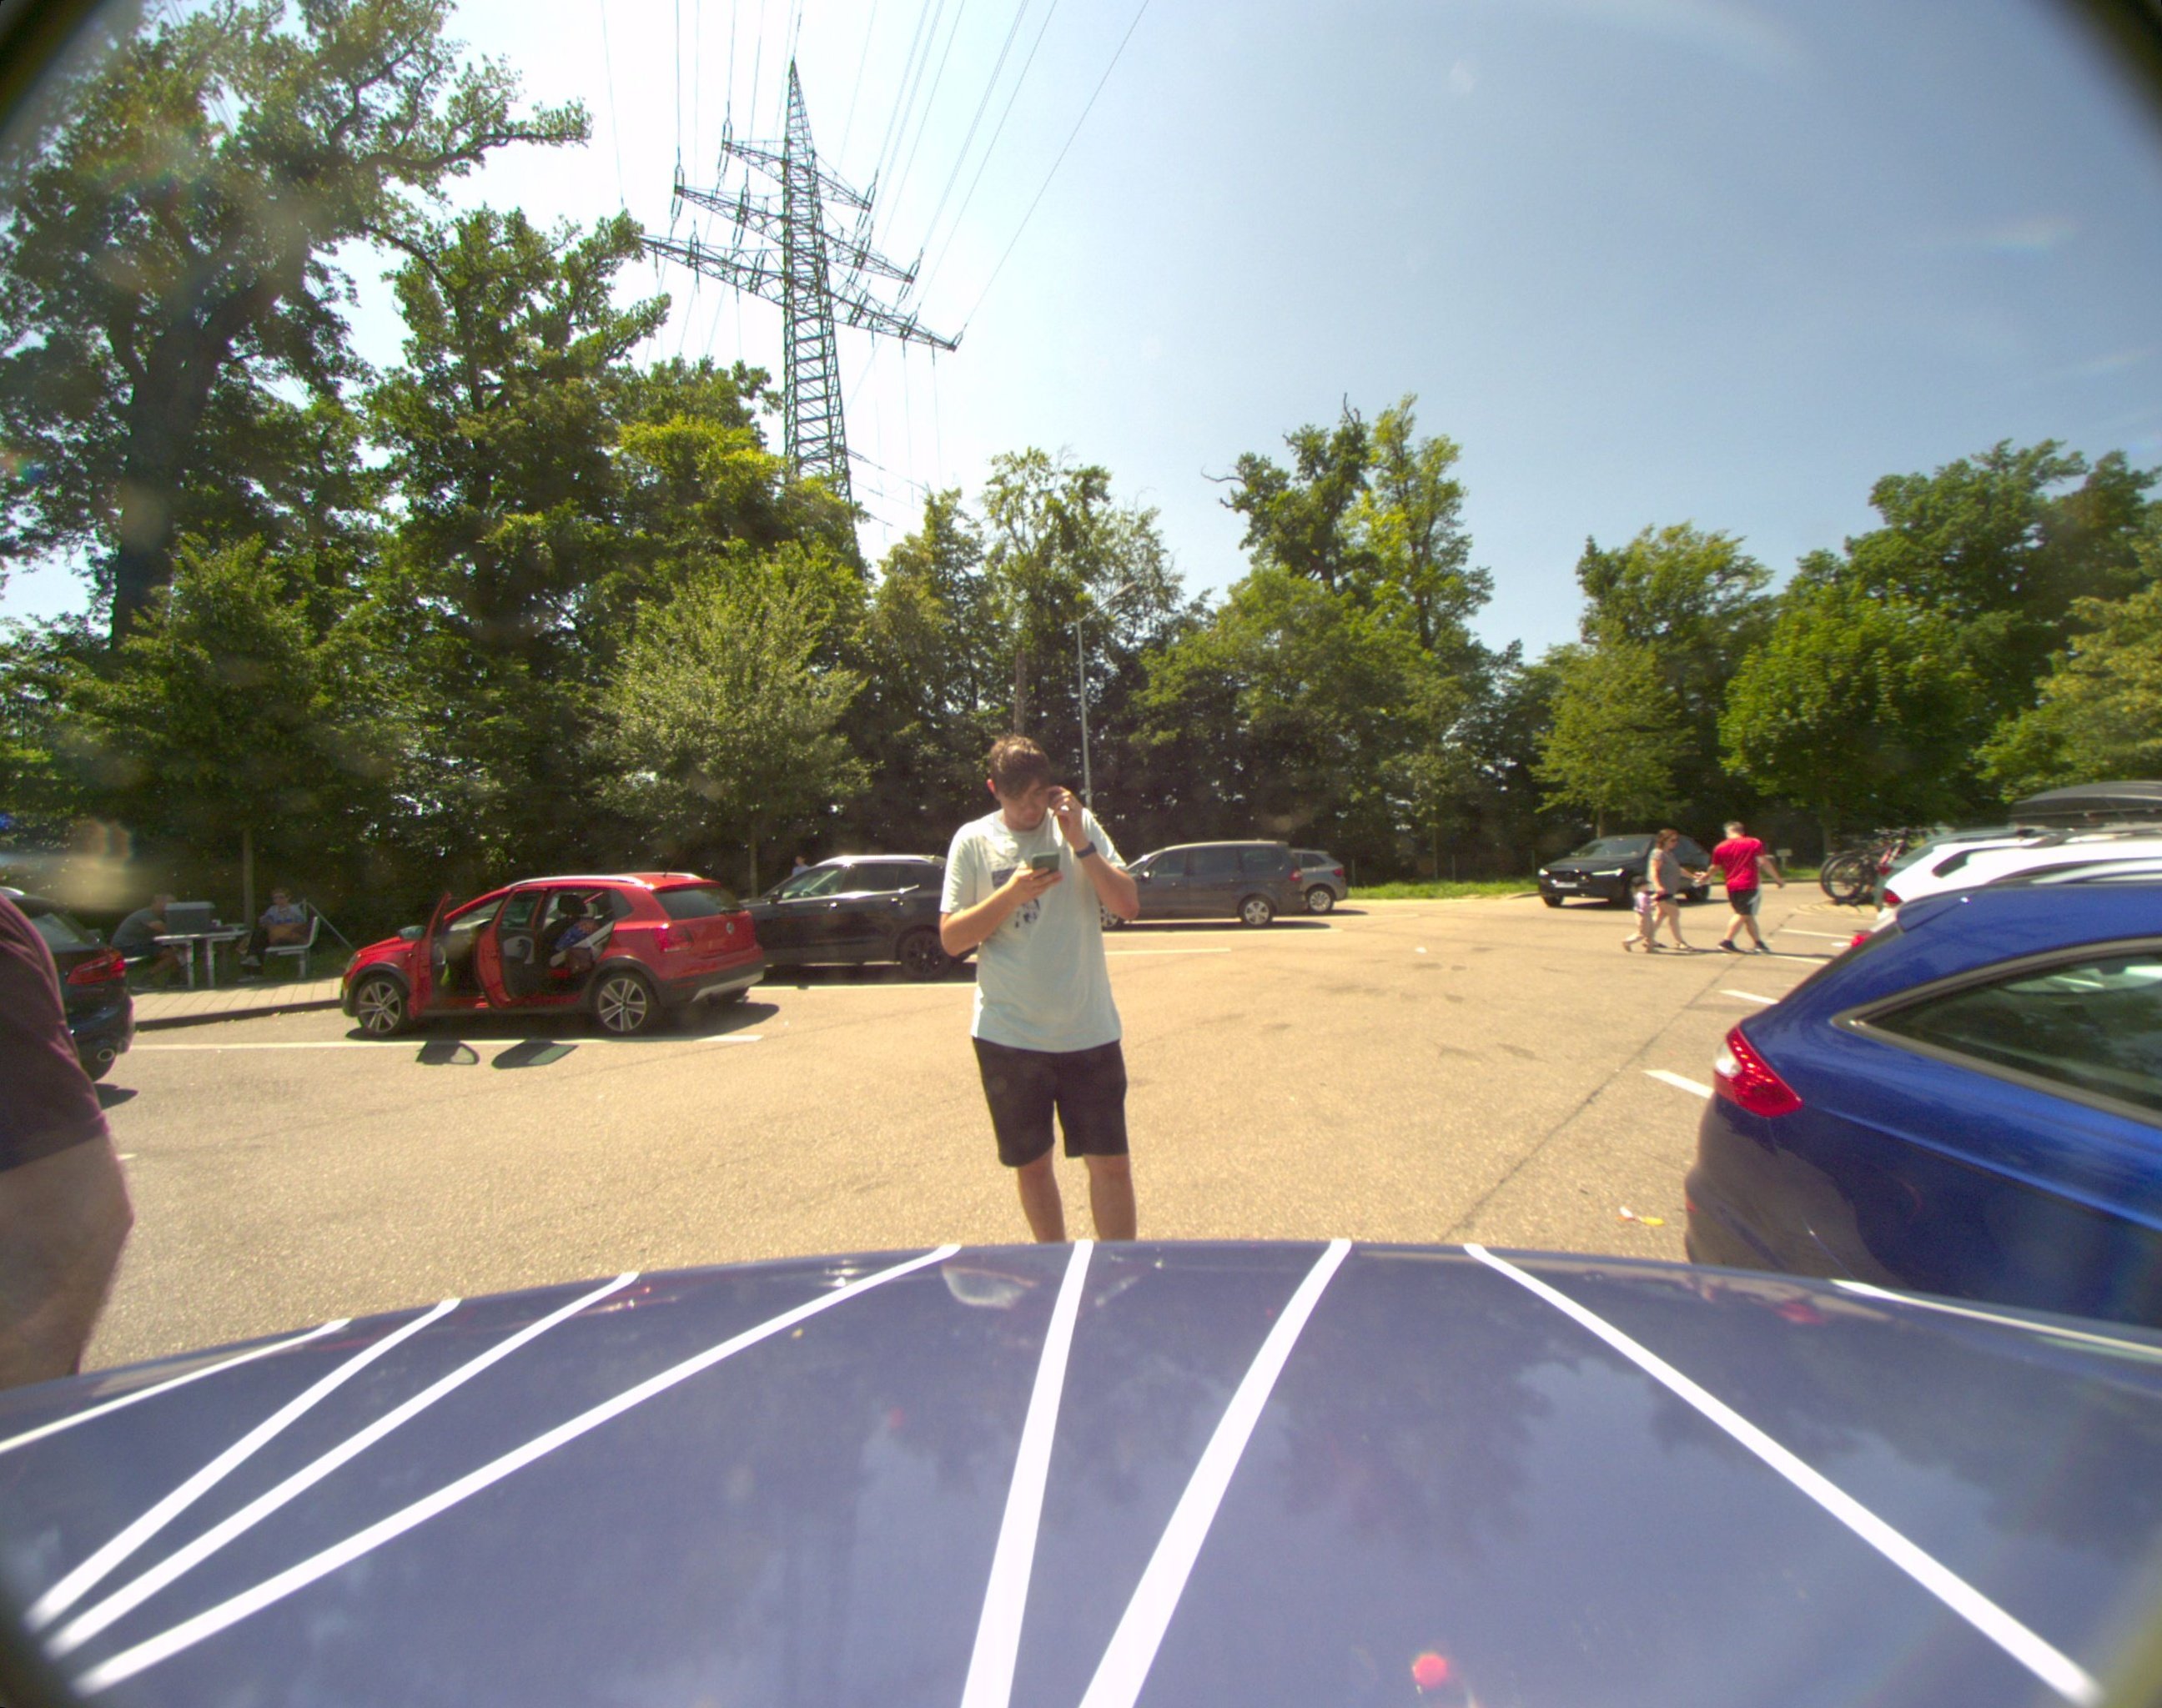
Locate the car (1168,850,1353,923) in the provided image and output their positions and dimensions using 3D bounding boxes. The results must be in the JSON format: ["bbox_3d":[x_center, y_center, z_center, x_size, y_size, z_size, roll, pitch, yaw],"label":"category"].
[{"bbox_3d":[4.139,0.742,18.006,3.996,1.495,1.687,-2,1,3],"label":"car"}]

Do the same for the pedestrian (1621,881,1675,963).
[{"bbox_3d":[7.498,0.882,10.051,0.440,1.038,0.433,-2,1,-35],"label":"pedestrian"}]

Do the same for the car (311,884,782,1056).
[{"bbox_3d":[-5.193,1.097,7.633,3.730,1.440,1.591,-2,0,7],"label":"car"}]

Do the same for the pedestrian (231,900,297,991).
[{"bbox_3d":[-11.955,1.316,11.123,0.695,1.228,0.588,-3,0,43],"label":"pedestrian"}]

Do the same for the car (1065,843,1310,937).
[{"bbox_3d":[2.135,0.713,15.467,4.619,1.701,1.740,-2,0,9],"label":"car"}]

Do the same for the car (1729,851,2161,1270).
[{"bbox_3d":[4.869,0.743,2.350,1.776,1.491,4.495,-3,-1,-1],"label":"car"}]

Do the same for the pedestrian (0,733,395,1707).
[{"bbox_3d":[-1.244,0.842,0.576,0.859,1.823,0.866,-2,1,31],"label":"pedestrian"}]

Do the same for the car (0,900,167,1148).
[{"bbox_3d":[-8.889,1.171,4.988,3.934,1.534,1.812,-2,0,7],"label":"car"}]

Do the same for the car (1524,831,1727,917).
[{"bbox_3d":[12.734,0.380,17.724,4.623,1.703,1.995,-2,1,-28],"label":"car"}]

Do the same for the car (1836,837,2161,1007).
[{"bbox_3d":[10.104,0.569,6.895,1.777,1.418,4.493,-3,-1,-5],"label":"car"}]

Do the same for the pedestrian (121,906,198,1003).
[{"bbox_3d":[-12.636,1.350,10.434,0.695,1.228,0.588,-3,0,43],"label":"pedestrian"}]

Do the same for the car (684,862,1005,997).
[{"bbox_3d":[-3.037,0.953,10.310,3.732,1.578,1.739,-2,0,2],"label":"car"}]

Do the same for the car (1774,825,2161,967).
[{"bbox_3d":[12.536,0.473,10.366,1.777,1.541,4.493,-3,-1,-5],"label":"car"}]

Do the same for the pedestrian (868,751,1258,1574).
[{"bbox_3d":[-0.049,0.734,2.164,0.861,1.940,0.688,-2,1,-3],"label":"pedestrian"}]

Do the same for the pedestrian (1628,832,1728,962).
[{"bbox_3d":[8.048,0.553,10.255,0.677,1.653,0.832,-2,1,-30],"label":"pedestrian"}]

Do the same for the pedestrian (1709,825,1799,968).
[{"bbox_3d":[8.594,0.511,9.706,0.835,1.722,0.674,-2,1,-37],"label":"pedestrian"}]

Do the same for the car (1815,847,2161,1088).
[{"bbox_3d":[7.471,0.673,4.509,1.776,1.418,4.495,-3,-1,-1],"label":"car"}]

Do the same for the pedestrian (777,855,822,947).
[{"bbox_3d":[-5.842,0.957,15.758,0.766,1.821,0.519,-3,1,-26],"label":"pedestrian"}]
